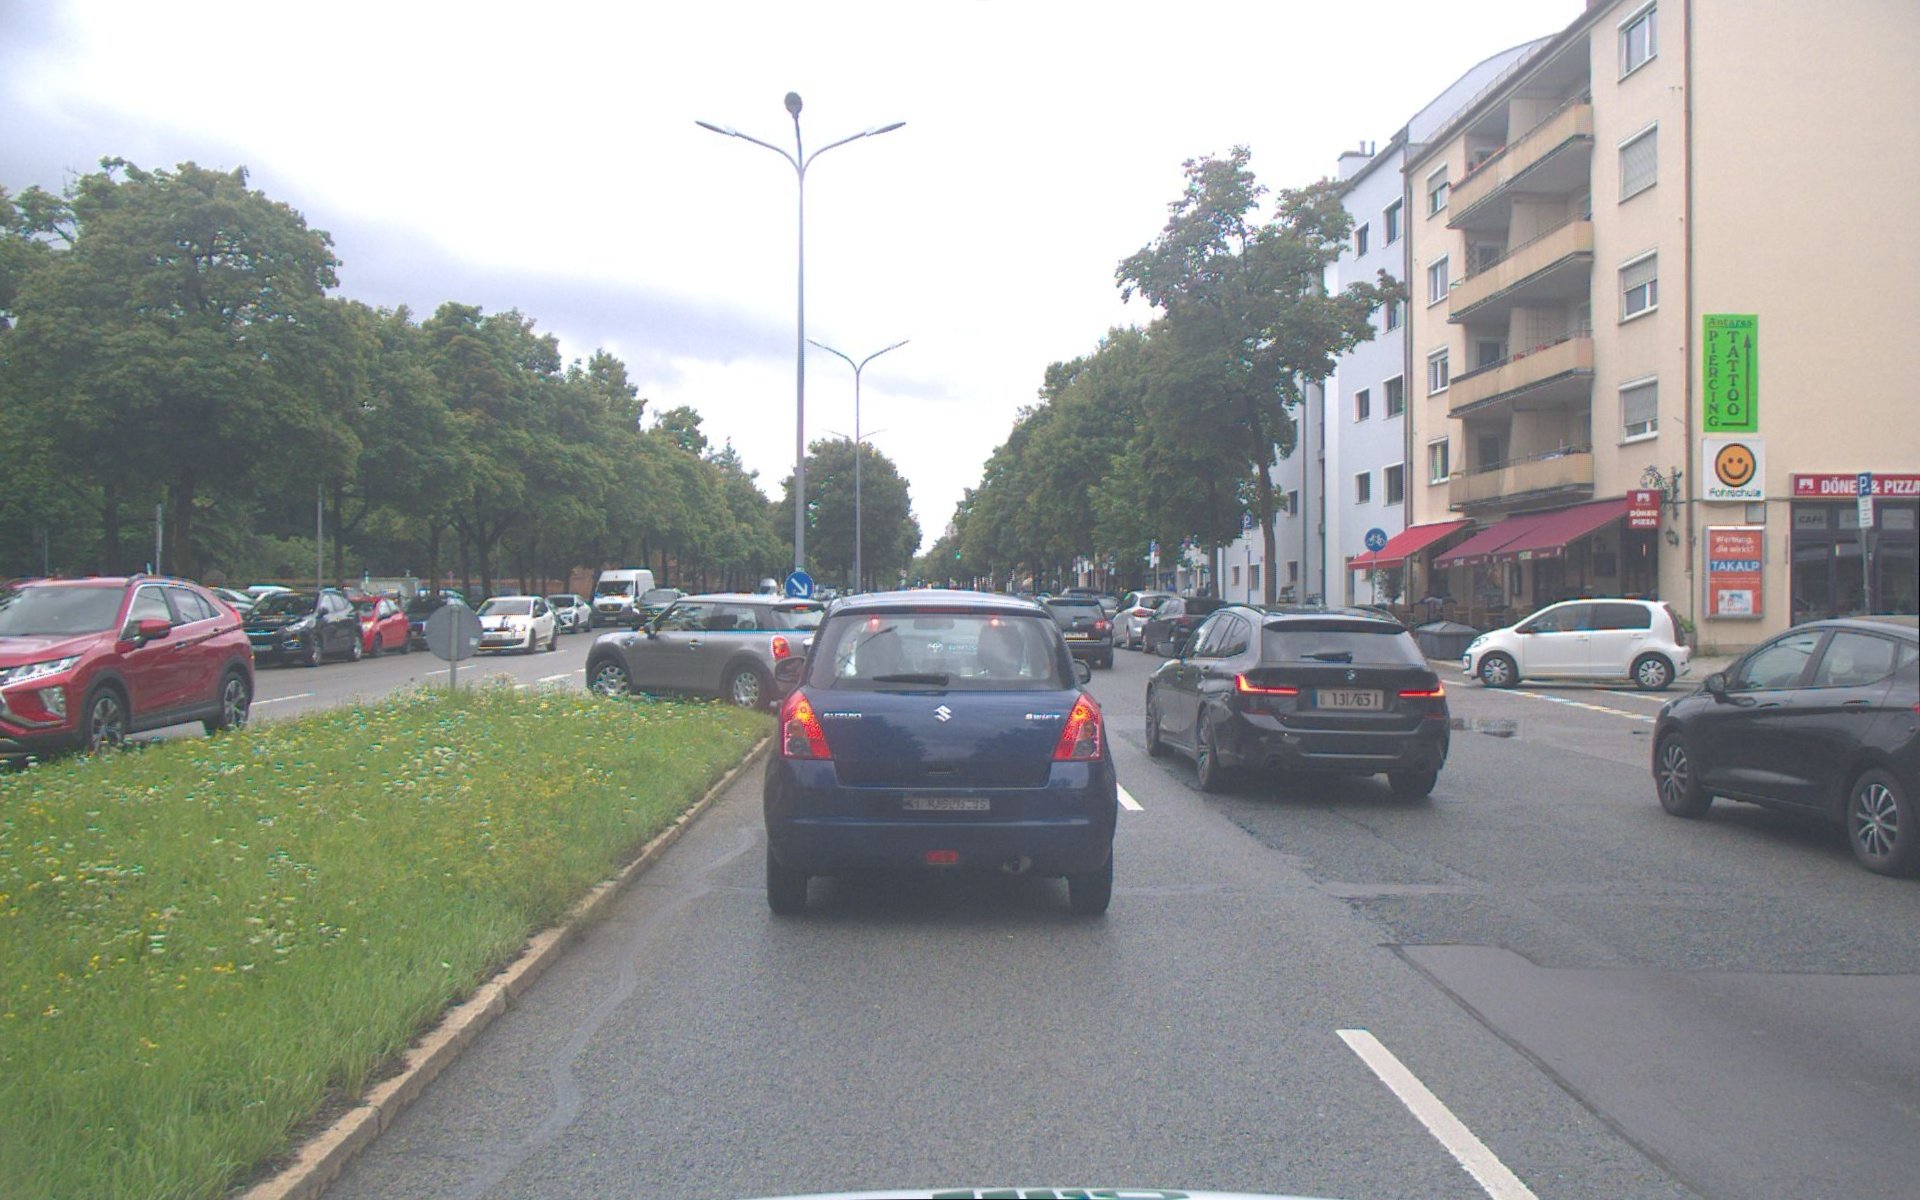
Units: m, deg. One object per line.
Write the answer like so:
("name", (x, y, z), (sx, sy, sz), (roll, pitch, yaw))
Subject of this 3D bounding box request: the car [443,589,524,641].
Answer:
("car", (-15.113, 0.453, 52.627), (1.558, 1.585, 3.877), (1, 0, -2))

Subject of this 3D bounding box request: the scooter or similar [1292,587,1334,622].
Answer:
("scooter or similar", (13.603, 0.168, 63.882), (1.011, 1.330, 2.755), (0, 0, -1))

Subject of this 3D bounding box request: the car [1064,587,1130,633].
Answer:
("car", (4.856, 0.337, 59.146), (1.828, 1.544, 4.222), (-1, 1, -3))

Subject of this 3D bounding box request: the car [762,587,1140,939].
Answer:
("car", (-0.111, 0.698, 9.204), (1.648, 1.528, 3.917), (0, 0, -2))

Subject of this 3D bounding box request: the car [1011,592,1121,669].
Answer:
("car", (2.157, 0.582, 34.696), (1.697, 1.457, 4.438), (1, 0, -4))

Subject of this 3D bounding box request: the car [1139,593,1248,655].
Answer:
("car", (5.739, 0.554, 41.127), (1.829, 1.442, 4.221), (-1, 1, -4))

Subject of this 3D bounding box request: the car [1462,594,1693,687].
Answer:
("car", (10.296, 0.633, 27.558), (3.477, 1.442, 1.870), (0, 1, 25))

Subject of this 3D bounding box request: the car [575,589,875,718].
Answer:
("car", (-3.014, 0.610, 20.967), (3.659, 1.488, 1.681), (1, 1, 36))

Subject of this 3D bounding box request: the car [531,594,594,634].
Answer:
("car", (-15.414, 0.525, 64.332), (1.599, 1.456, 3.877), (1, 0, -2))

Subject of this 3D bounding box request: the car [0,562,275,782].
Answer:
("car", (-8.132, 0.582, 15.209), (1.865, 1.726, 4.244), (-2, 0, -1))

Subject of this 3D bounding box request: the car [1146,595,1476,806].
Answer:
("car", (2.743, 0.706, 13.960), (1.723, 1.438, 4.461), (1, 0, -1))

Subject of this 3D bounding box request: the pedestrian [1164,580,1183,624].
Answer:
("pedestrian", (10.088, 0.090, 78.130), (0.778, 2.049, 1.006), (0, 0, -1))

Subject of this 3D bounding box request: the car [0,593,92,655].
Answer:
("car", (-27.990, 0.687, 48.780), (3.843, 1.748, 1.670), (1, 0, -7))

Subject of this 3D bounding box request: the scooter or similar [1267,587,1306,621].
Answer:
("scooter or similar", (13.297, 0.155, 67.452), (1.011, 1.330, 2.755), (0, 0, -1))

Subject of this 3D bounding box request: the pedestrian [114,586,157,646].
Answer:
("pedestrian", (-21.450, 0.413, 43.037), (0.713, 1.561, 0.721), (1, 0, -1))

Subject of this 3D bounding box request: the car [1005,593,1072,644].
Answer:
("car", (2.263, 0.522, 48.539), (1.648, 1.408, 3.918), (1, 0, -2))

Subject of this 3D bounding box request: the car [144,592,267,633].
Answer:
("car", (-27.958, 0.455, 61.403), (3.792, 1.471, 1.670), (1, 0, -7))

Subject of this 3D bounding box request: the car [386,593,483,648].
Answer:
("car", (-14.943, 0.555, 47.216), (1.634, 1.471, 3.877), (1, 0, -2))

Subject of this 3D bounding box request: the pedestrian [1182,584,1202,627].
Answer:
("pedestrian", (10.952, 0.247, 78.156), (0.778, 2.049, 1.006), (0, 0, -1))

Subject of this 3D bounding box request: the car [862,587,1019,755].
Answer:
("car", (-0.232, 0.630, 16.493), (1.415, 1.509, 3.105), (0, 0, -2))

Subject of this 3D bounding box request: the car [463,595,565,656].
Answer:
("car", (-11.243, 0.620, 41.887), (1.586, 1.399, 3.836), (-2, 0, -2))

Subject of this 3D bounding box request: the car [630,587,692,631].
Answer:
("car", (-11.962, 0.347, 66.420), (1.731, 1.651, 4.505), (-2, 0, -2))

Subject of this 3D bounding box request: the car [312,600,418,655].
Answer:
("car", (-15.122, 0.675, 42.215), (1.558, 1.335, 3.379), (1, 0, -2))

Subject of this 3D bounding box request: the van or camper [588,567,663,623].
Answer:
("van or camper", (-15.785, -0.235, 78.508), (2.074, 2.525, 7.448), (1, 0, 0))

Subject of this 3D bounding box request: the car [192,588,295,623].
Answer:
("car", (-31.705, 0.252, 73.259), (3.792, 1.471, 1.670), (1, 0, -7))

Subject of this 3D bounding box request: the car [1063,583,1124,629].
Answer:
("car", (5.118, 0.192, 64.004), (1.828, 1.712, 4.222), (-1, 1, -3))

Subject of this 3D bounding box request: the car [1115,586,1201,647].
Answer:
("car", (5.440, 0.426, 45.896), (1.756, 1.585, 4.223), (-1, 1, -2))

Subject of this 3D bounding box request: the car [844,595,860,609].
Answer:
("car", (-12.261, 0.201, 187.735), (1.599, 1.580, 3.877), (1, 0, -2))

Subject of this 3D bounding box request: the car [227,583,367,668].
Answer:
("car", (-14.818, 0.543, 37.178), (1.682, 1.771, 3.877), (1, 0, -2))

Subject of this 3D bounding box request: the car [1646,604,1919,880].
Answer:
("car", (6.011, 0.803, 10.619), (1.584, 1.491, 3.673), (2, 0, -1))

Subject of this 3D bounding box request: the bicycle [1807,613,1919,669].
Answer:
("bicycle", (16.260, 0.737, 29.709), (1.810, 0.974, 0.557), (1, 0, -3))
